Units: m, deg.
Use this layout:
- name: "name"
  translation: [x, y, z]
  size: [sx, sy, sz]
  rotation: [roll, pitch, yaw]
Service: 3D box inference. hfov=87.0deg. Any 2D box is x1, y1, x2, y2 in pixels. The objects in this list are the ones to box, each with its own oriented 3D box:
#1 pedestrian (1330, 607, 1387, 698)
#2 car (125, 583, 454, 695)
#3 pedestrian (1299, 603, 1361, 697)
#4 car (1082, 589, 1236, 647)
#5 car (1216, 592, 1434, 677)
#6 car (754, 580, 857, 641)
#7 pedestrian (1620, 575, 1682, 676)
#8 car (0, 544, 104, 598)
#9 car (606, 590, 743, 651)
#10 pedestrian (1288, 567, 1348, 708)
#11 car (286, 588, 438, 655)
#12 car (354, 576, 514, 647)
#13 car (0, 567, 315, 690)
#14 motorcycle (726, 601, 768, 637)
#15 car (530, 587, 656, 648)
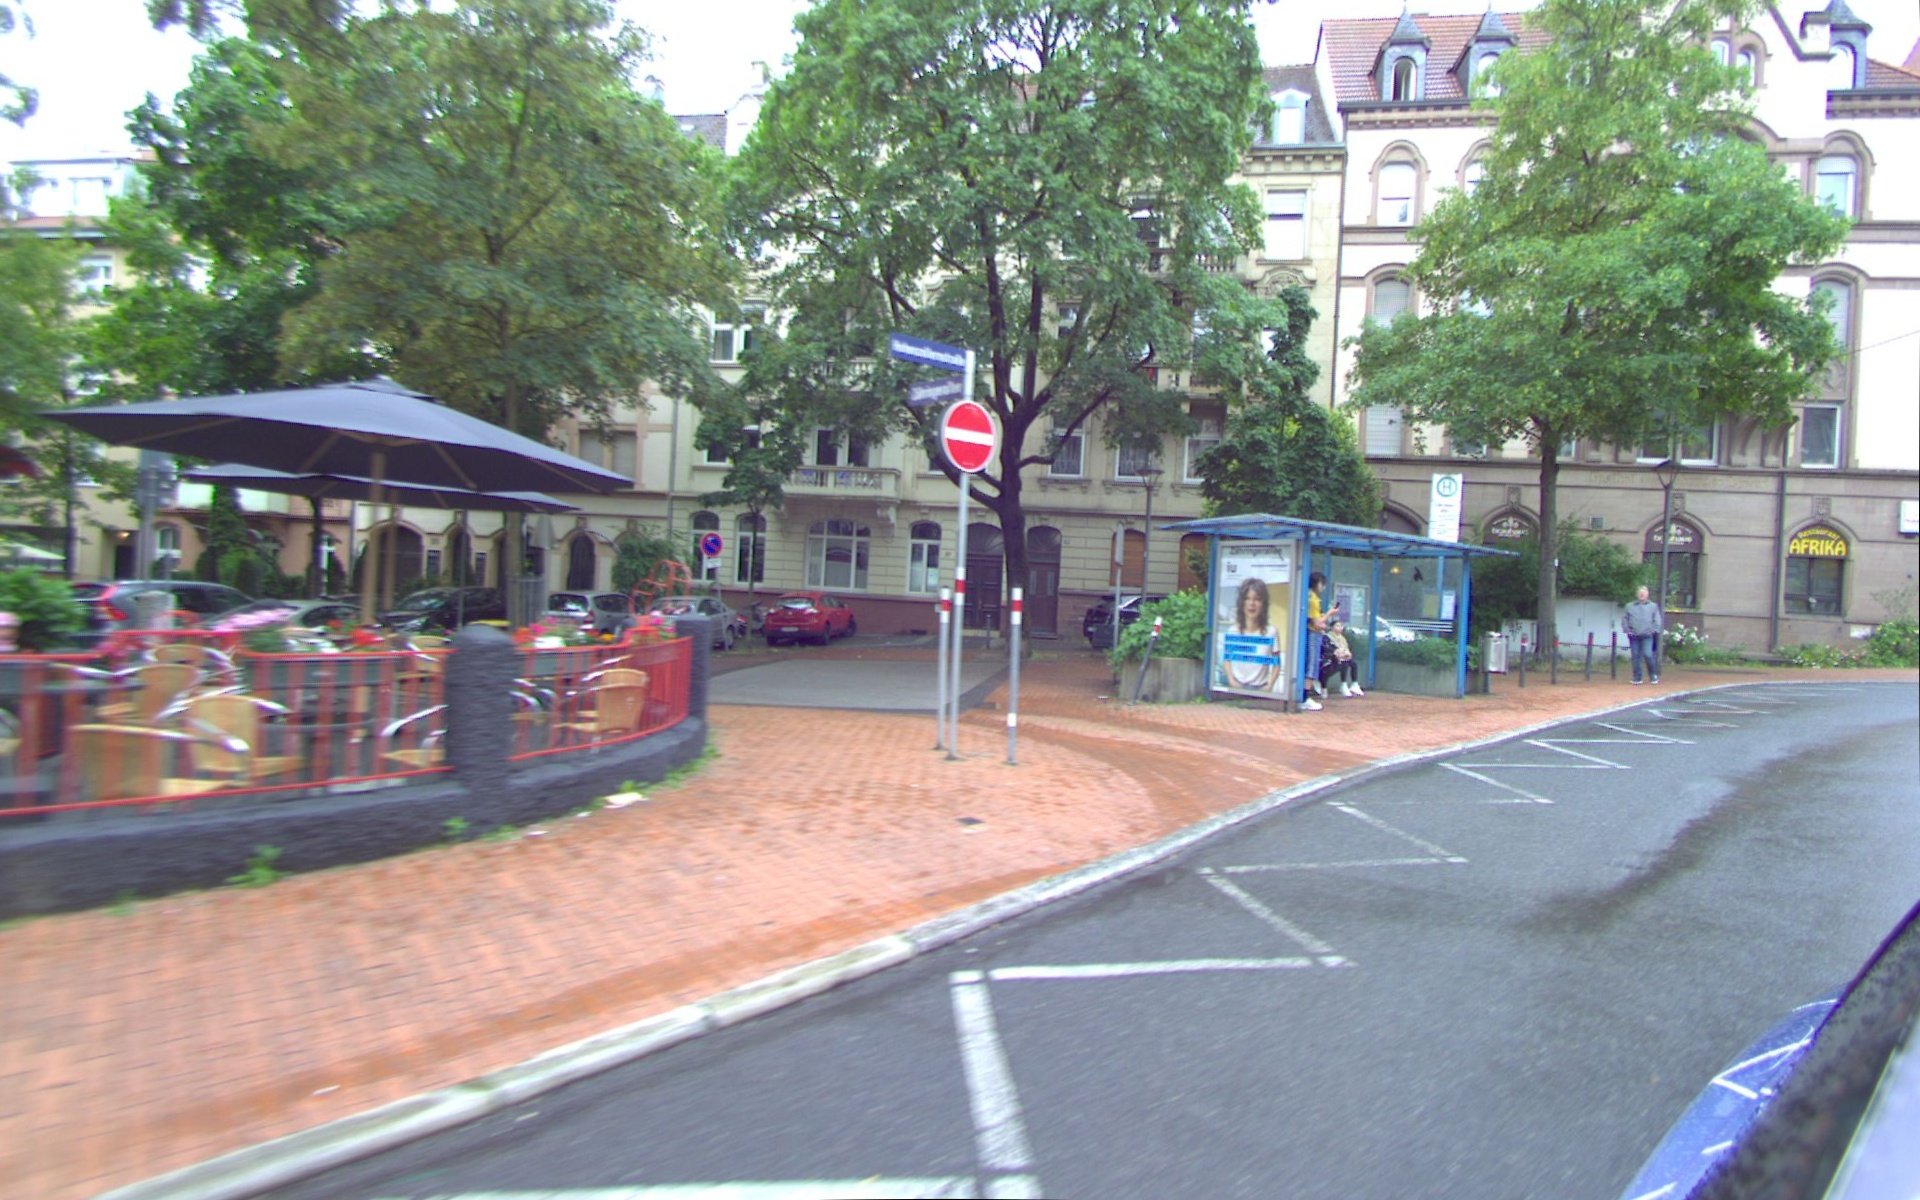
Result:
- name: "pedestrian"
  translation: [5.809, 0.750, 14.751]
  size: [0.524, 1.296, 0.571]
  rotation: [1, -1, -31]
- name: "car"
  translation: [-10.505, 0.535, 16.390]
  size: [1.764, 1.547, 4.634]
  rotation: [0, 0, 10]
- name: "pedestrian"
  translation: [5.283, 0.692, 14.451]
  size: [0.606, 1.296, 0.572]
  rotation: [1, -1, -30]
- name: "car"
  translation: [5.450, 0.480, 27.816]
  size: [3.769, 1.495, 1.775]
  rotation: [0, 0, -19]
- name: "car"
  translation: [6.875, 0.662, 19.444]
  size: [3.614, 1.522, 1.766]
  rotation: [-1, -2, 9]
- name: "car"
  translation: [-4.446, 0.238, 29.751]
  size: [1.846, 1.546, 3.991]
  rotation: [0, 3, 10]
- name: "pedestrian"
  translation: [12.278, 0.443, 18.000]
  size: [0.716, 1.756, 0.574]
  rotation: [0, -1, -14]
- name: "car"
  translation: [-28.398, -0.834, 30.610]
  size: [1.654, 1.556, 3.641]
  rotation: [0, 0, 10]
- name: "car"
  translation: [-7.165, 0.487, 25.885]
  size: [1.680, 1.413, 4.322]
  rotation: [0, 0, 10]
- name: "pedestrian"
  translation: [4.691, 0.477, 13.277]
  size: [0.534, 1.798, 0.561]
  rotation: [0, -1, -12]
- name: "car"
  translation: [-16.013, 0.545, 27.329]
  size: [1.564, 1.688, 3.641]
  rotation: [0, 0, 10]
- name: "car"
  translation: [-13.512, 0.271, 26.240]
  size: [1.653, 1.688, 3.770]
  rotation: [0, 0, 13]
- name: "car"
  translation: [-12.876, 0.404, 16.513]
  size: [1.764, 1.749, 3.988]
  rotation: [0, 0, 10]
- name: "motorcycle"
  translation: [-6.437, 0.569, 30.630]
  size: [0.443, 0.933, 1.620]
  rotation: [0, 4, 20]
- name: "car"
  translation: [-9.411, 0.422, 26.246]
  size: [1.564, 1.483, 3.491]
  rotation: [0, 0, 10]
